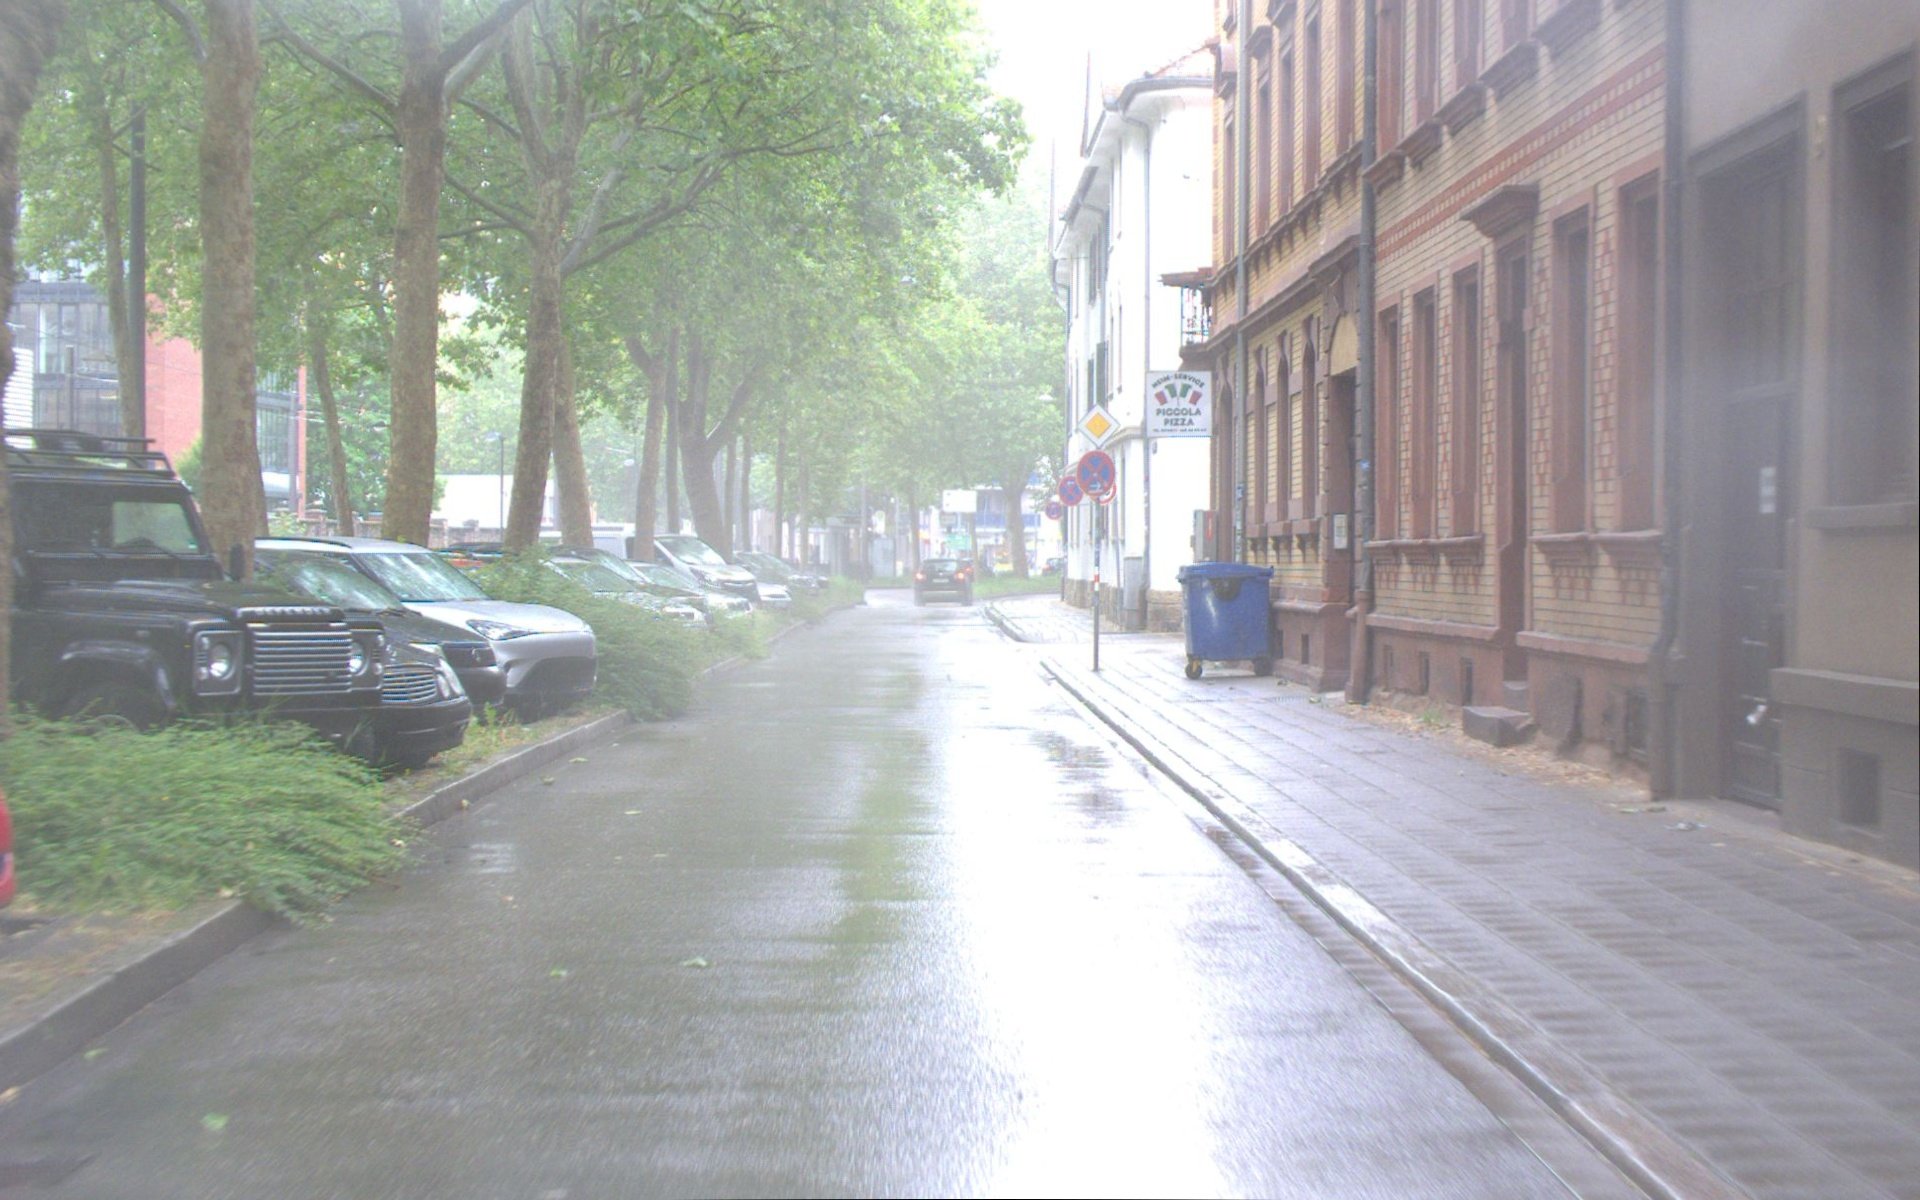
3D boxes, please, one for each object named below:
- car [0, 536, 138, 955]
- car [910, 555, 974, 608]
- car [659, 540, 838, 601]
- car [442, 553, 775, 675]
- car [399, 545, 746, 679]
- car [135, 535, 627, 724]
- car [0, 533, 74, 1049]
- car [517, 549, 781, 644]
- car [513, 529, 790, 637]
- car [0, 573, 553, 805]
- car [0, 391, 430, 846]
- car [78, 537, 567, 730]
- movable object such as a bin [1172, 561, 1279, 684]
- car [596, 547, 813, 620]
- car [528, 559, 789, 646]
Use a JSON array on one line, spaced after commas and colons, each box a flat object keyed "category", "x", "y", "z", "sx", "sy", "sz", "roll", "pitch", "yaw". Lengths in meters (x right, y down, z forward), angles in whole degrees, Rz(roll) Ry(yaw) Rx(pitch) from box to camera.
[{"category": "car", "x": -4.945, "y": 0.526, "z": 12.409, "sx": 3.497, "sy": 1.431, "sz": 1.779, "roll": -1, "pitch": 1, "yaw": 27}, {"category": "car", "x": -0.597, "y": -0.606, "z": 110.256, "sx": 1.993, "sy": 1.634, "sz": 4.000, "roll": 0, "pitch": 1, "yaw": -1}, {"category": "car", "x": -5.726, "y": -0.810, "z": 93.181, "sx": 4.464, "sy": 1.591, "sz": 1.921, "roll": 0, "pitch": 2, "yaw": 26}, {"category": "car", "x": -5.065, "y": 0.203, "z": 49.488, "sx": 4.410, "sy": 1.654, "sz": 1.927, "roll": -1, "pitch": 2, "yaw": 27}, {"category": "car", "x": -5.311, "y": 0.165, "z": 46.988, "sx": 4.411, "sy": 1.640, "sz": 1.869, "roll": -2, "pitch": 1, "yaw": 31}, {"category": "car", "x": -5.138, "y": 0.213, "z": 30.431, "sx": 4.059, "sy": 1.532, "sz": 1.832, "roll": 1, "pitch": 2, "yaw": 30}, {"category": "car", "x": -4.755, "y": 0.572, "z": 9.860, "sx": 4.038, "sy": 1.430, "sz": 1.779, "roll": -1, "pitch": 1, "yaw": 25}, {"category": "car", "x": -5.211, "y": -0.081, "z": 57.649, "sx": 4.061, "sy": 1.494, "sz": 1.745, "roll": 1, "pitch": 2, "yaw": 23}, {"category": "car", "x": -6.106, "y": -0.328, "z": 67.899, "sx": 5.123, "sy": 1.970, "sz": 2.099, "roll": -1, "pitch": 1, "yaw": 30}, {"category": "car", "x": -5.097, "y": 0.541, "z": 22.122, "sx": 4.652, "sy": 1.321, "sz": 1.844, "roll": -1, "pitch": 1, "yaw": 27}, {"category": "car", "x": -5.430, "y": 0.079, "z": 19.273, "sx": 4.653, "sy": 2.275, "sz": 2.008, "roll": 0, "pitch": 1, "yaw": 33}, {"category": "car", "x": -5.123, "y": 0.266, "z": 27.690, "sx": 3.503, "sy": 1.462, "sz": 1.641, "roll": -1, "pitch": 1, "yaw": 21}, {"category": "movable object such as a bin", "x": 3.060, "y": 0.250, "z": 39.790, "sx": 1.021, "sy": 1.297, "sz": 1.367, "roll": -4, "pitch": 2, "yaw": -1}, {"category": "car", "x": -5.676, "y": -0.359, "z": 76.335, "sx": 4.553, "sy": 1.477, "sz": 1.772, "roll": -1, "pitch": 1, "yaw": 30}, {"category": "car", "x": -5.328, "y": 0.022, "z": 60.674, "sx": 4.308, "sy": 1.432, "sz": 1.745, "roll": 1, "pitch": 2, "yaw": 26}]
